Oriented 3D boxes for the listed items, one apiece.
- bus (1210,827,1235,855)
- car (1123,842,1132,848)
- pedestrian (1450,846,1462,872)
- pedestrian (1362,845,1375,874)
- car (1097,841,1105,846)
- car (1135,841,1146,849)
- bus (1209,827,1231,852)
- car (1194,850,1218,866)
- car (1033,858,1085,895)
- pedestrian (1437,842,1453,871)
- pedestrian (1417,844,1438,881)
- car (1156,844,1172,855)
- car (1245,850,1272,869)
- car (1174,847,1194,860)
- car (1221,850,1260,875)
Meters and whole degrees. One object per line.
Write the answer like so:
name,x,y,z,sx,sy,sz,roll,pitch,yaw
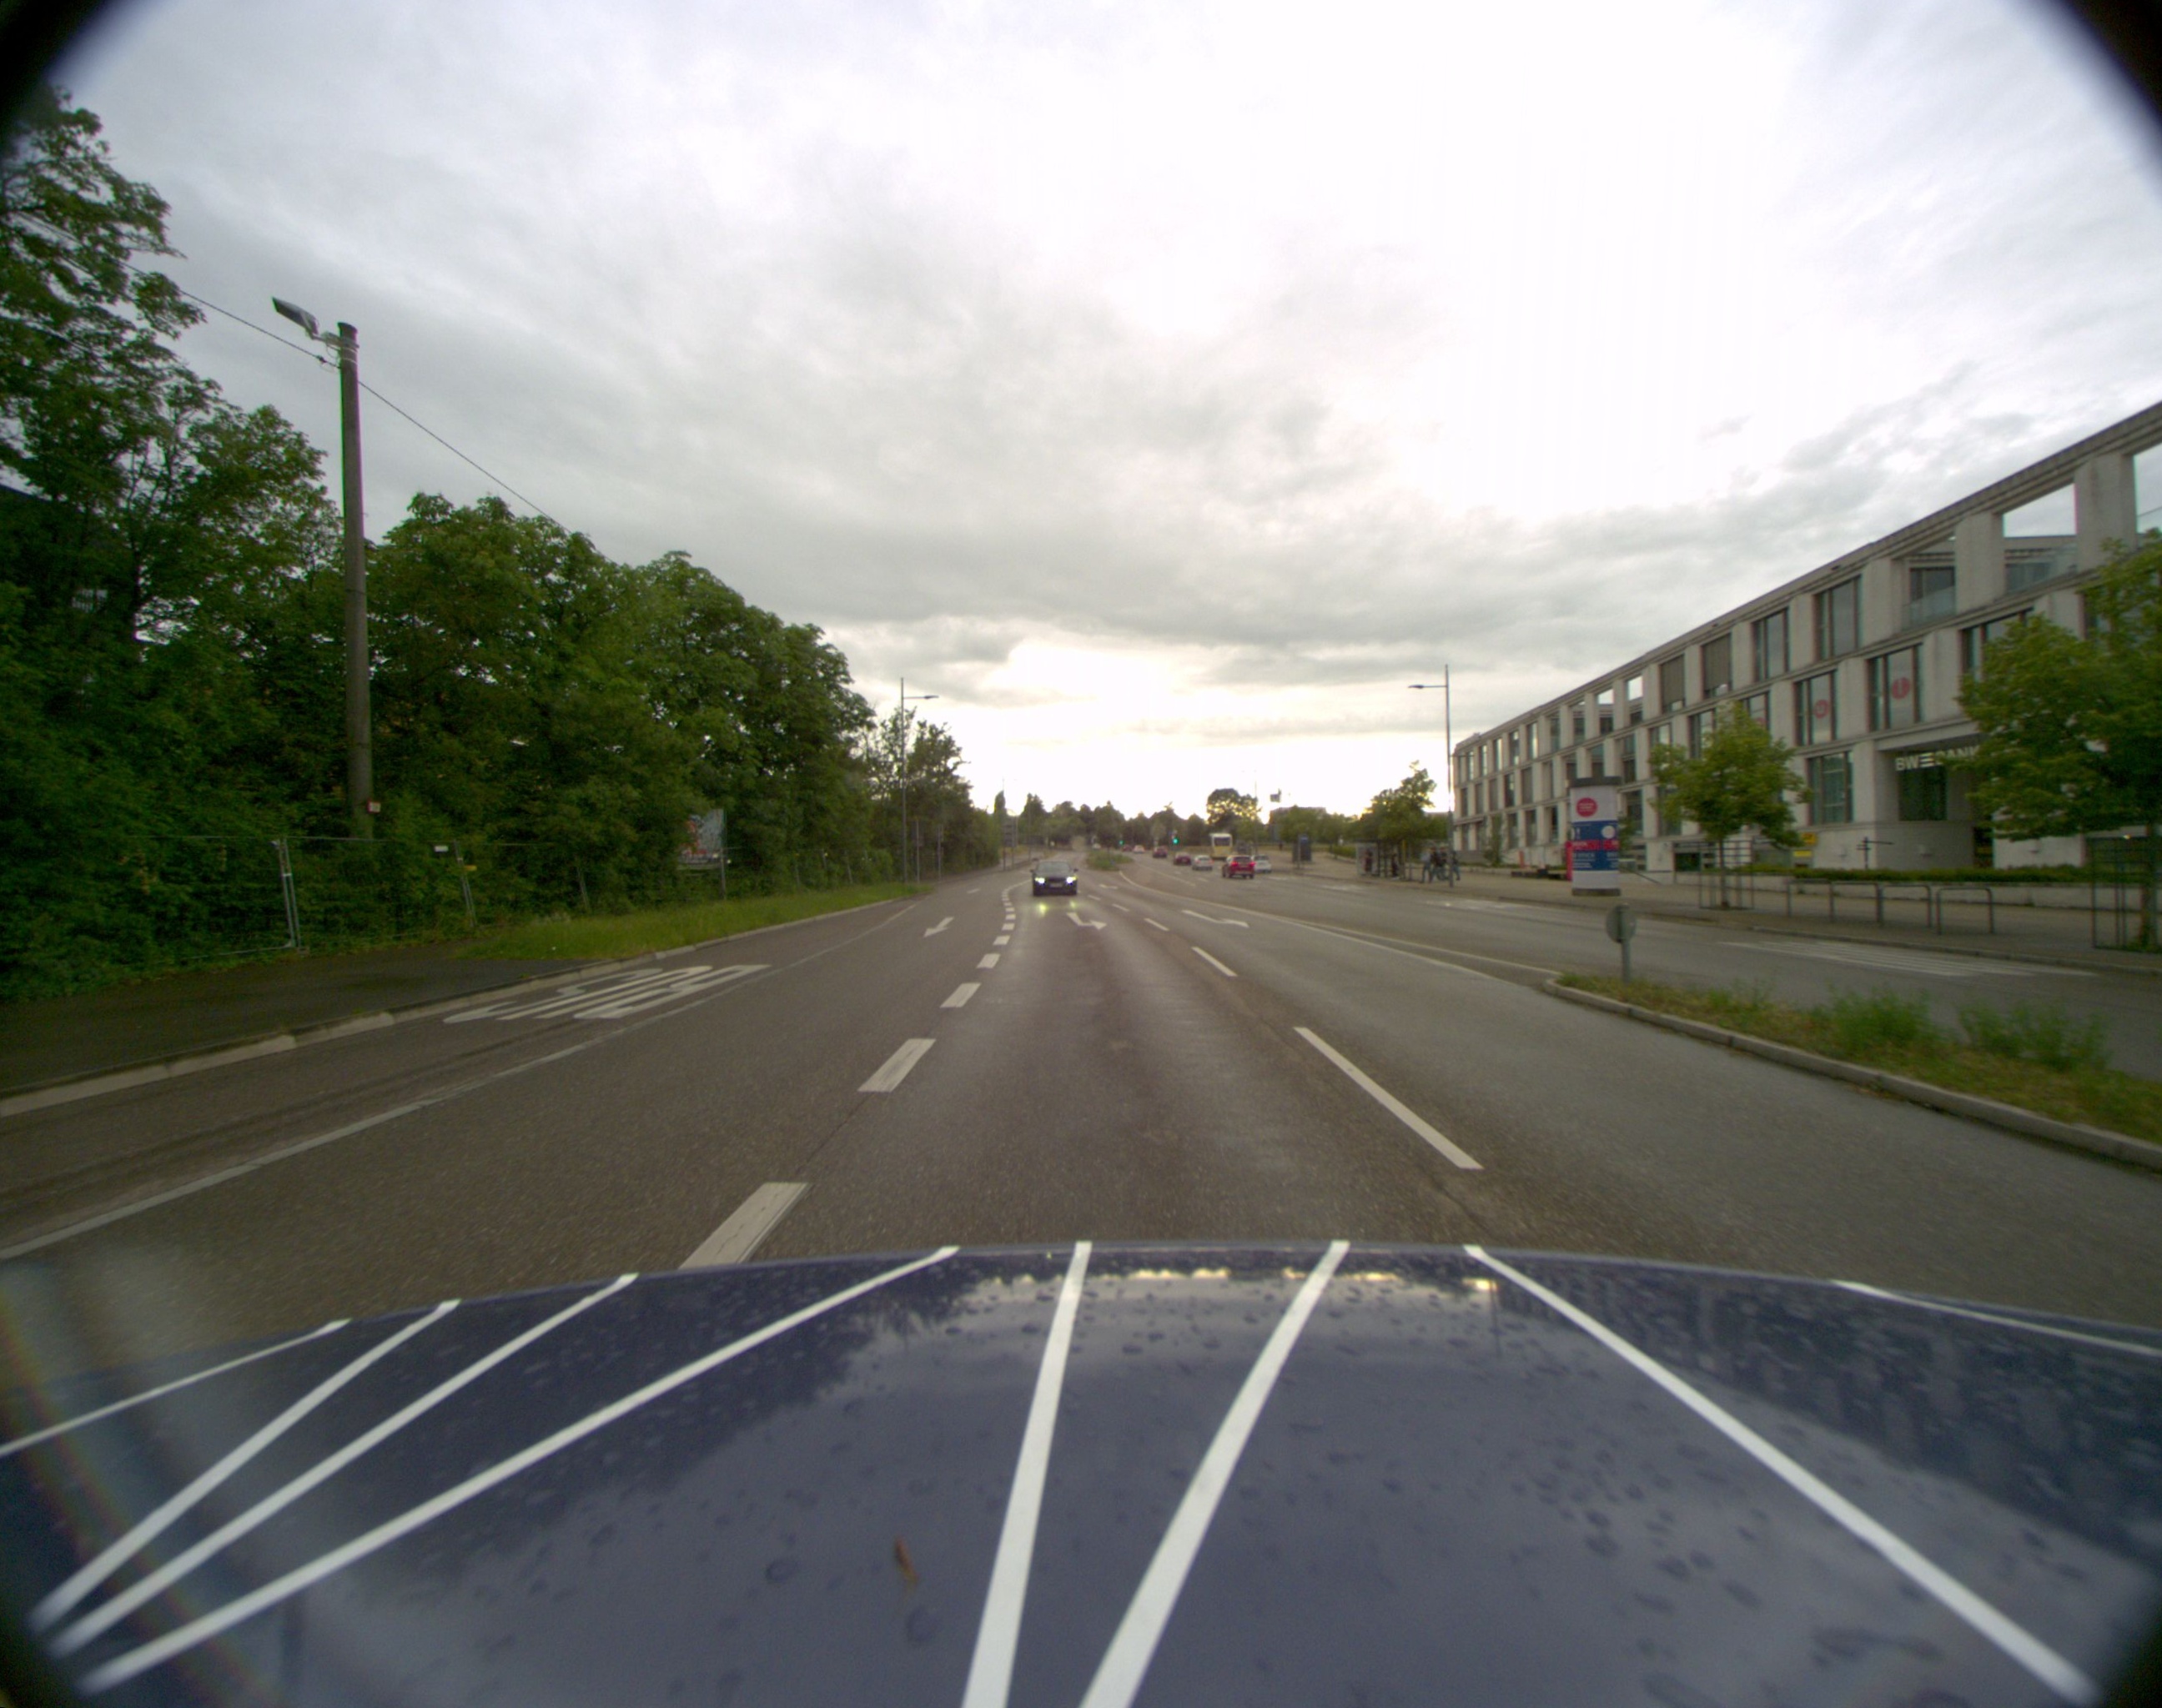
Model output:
bus,19.111,-1.804,102.967,2.827,3.453,8.233,-2,2,8
car,10.123,-1.965,164.887,1.851,1.454,3.866,0,1,1
pedestrian,20.621,0.261,41.793,0.427,1.443,0.510,-1,1,2
pedestrian,17.961,0.336,47.415,0.508,1.832,0.755,-1,1,0
car,5.390,-2.819,205.597,1.998,1.410,4.512,-1,1,1
car,11.460,-1.674,146.396,1.877,1.422,4.175,1,1,1
bus,20.466,-2.213,112.293,2.827,3.453,9.976,-2,2,8
car,12.270,0.381,74.853,1.766,1.408,3.878,1,0,1
car,-0.986,0.893,31.806,1.990,1.391,4.175,-1,0,-3
pedestrian,21.981,0.148,45.917,0.600,1.752,0.857,-1,1,3
pedestrian,17.765,0.429,39.016,0.755,1.832,0.746,-1,1,3
car,12.606,-0.681,115.586,1.836,1.563,4.592,1,1,1
car,15.361,0.442,65.785,1.617,1.499,2.972,-2,1,1
car,12.199,-0.098,90.062,1.836,1.408,4.465,1,0,1
car,11.584,0.590,55.435,1.858,1.673,4.737,1,0,1
